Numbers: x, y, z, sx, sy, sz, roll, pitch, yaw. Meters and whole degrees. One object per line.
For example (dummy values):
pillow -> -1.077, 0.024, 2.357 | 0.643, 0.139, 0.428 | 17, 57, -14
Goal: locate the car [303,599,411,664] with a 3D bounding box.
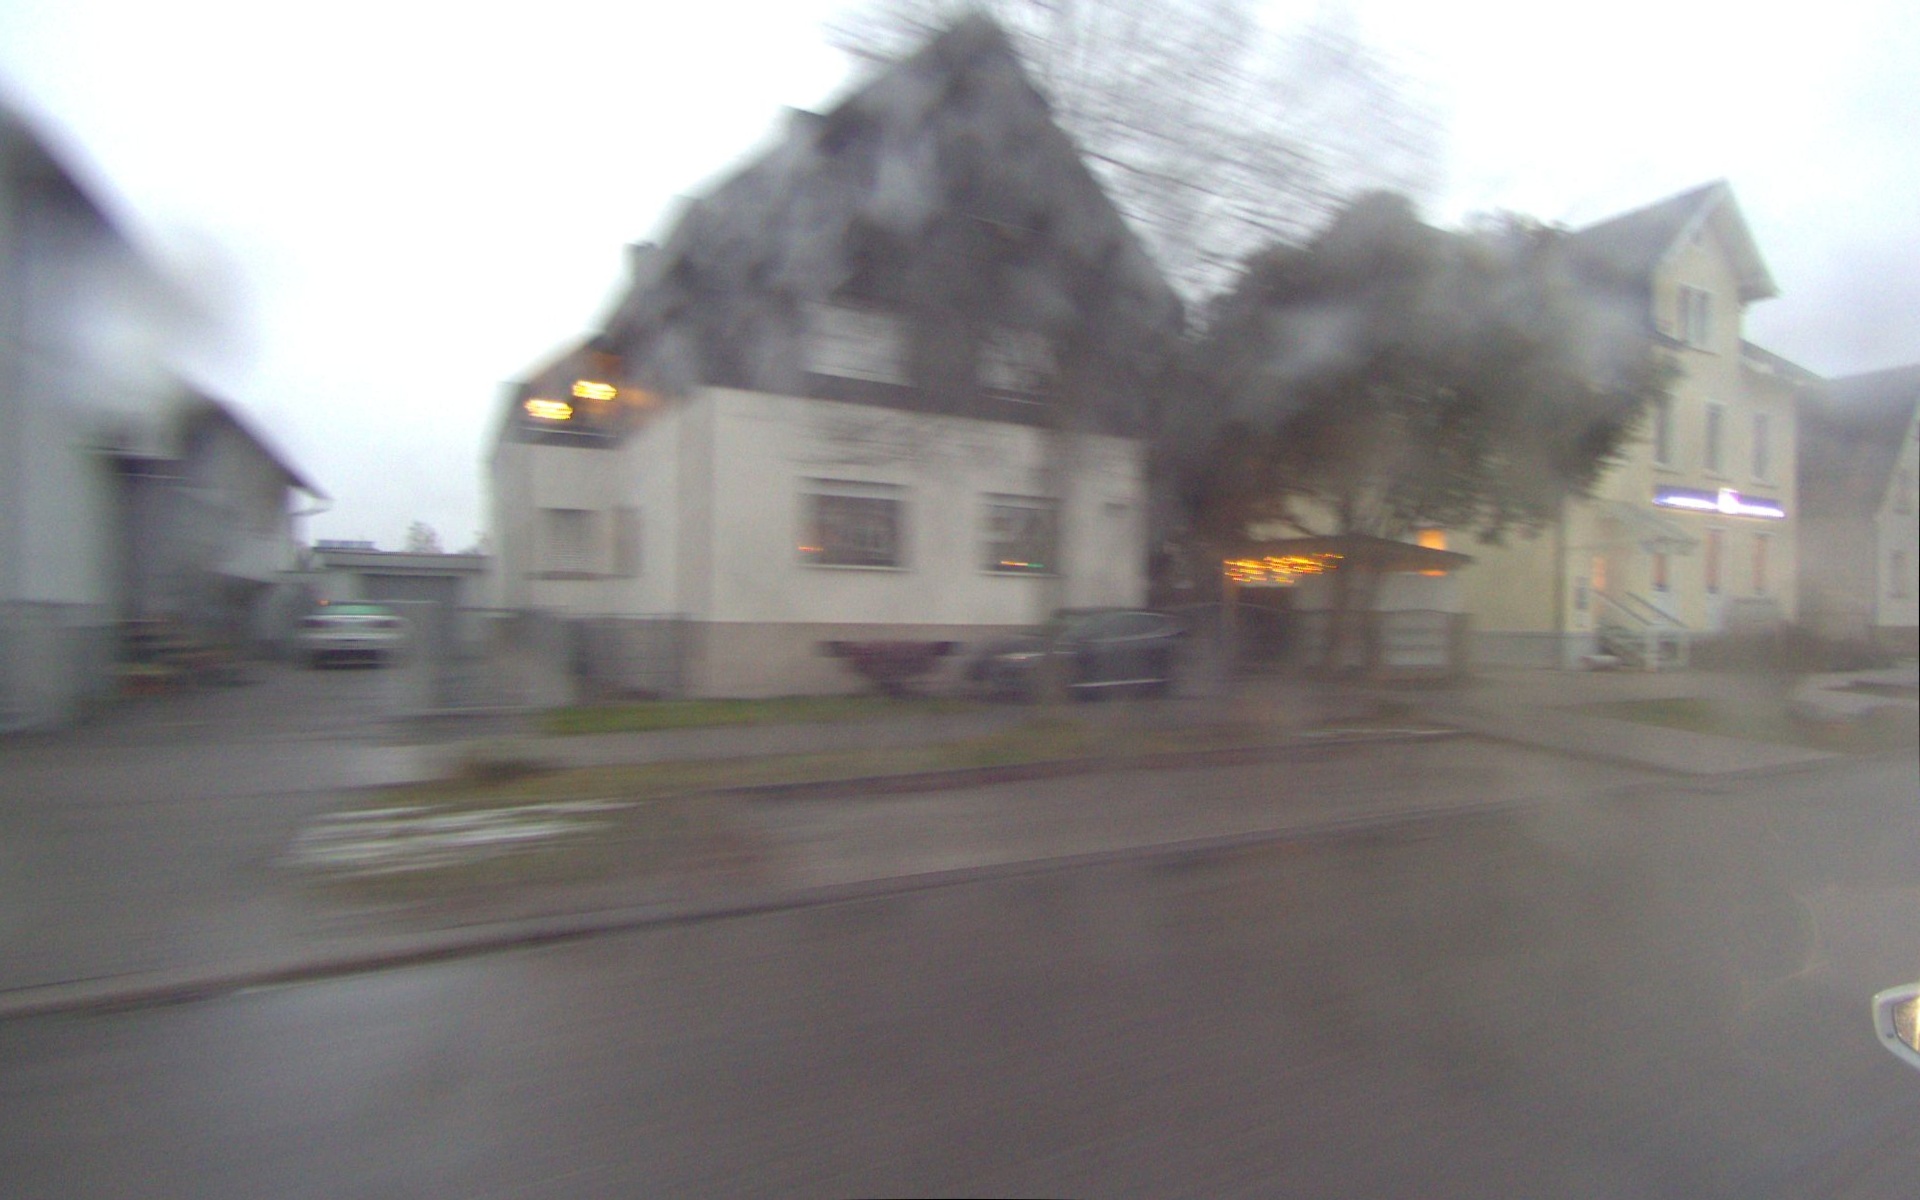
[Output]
car -> -13.015, 0.710, 21.837 | 1.833, 1.274, 3.970 | 1, -3, -29

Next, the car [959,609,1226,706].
car -> 2.136, 0.872, 16.112 | 3.948, 1.384, 1.776 | 1, 0, -26
